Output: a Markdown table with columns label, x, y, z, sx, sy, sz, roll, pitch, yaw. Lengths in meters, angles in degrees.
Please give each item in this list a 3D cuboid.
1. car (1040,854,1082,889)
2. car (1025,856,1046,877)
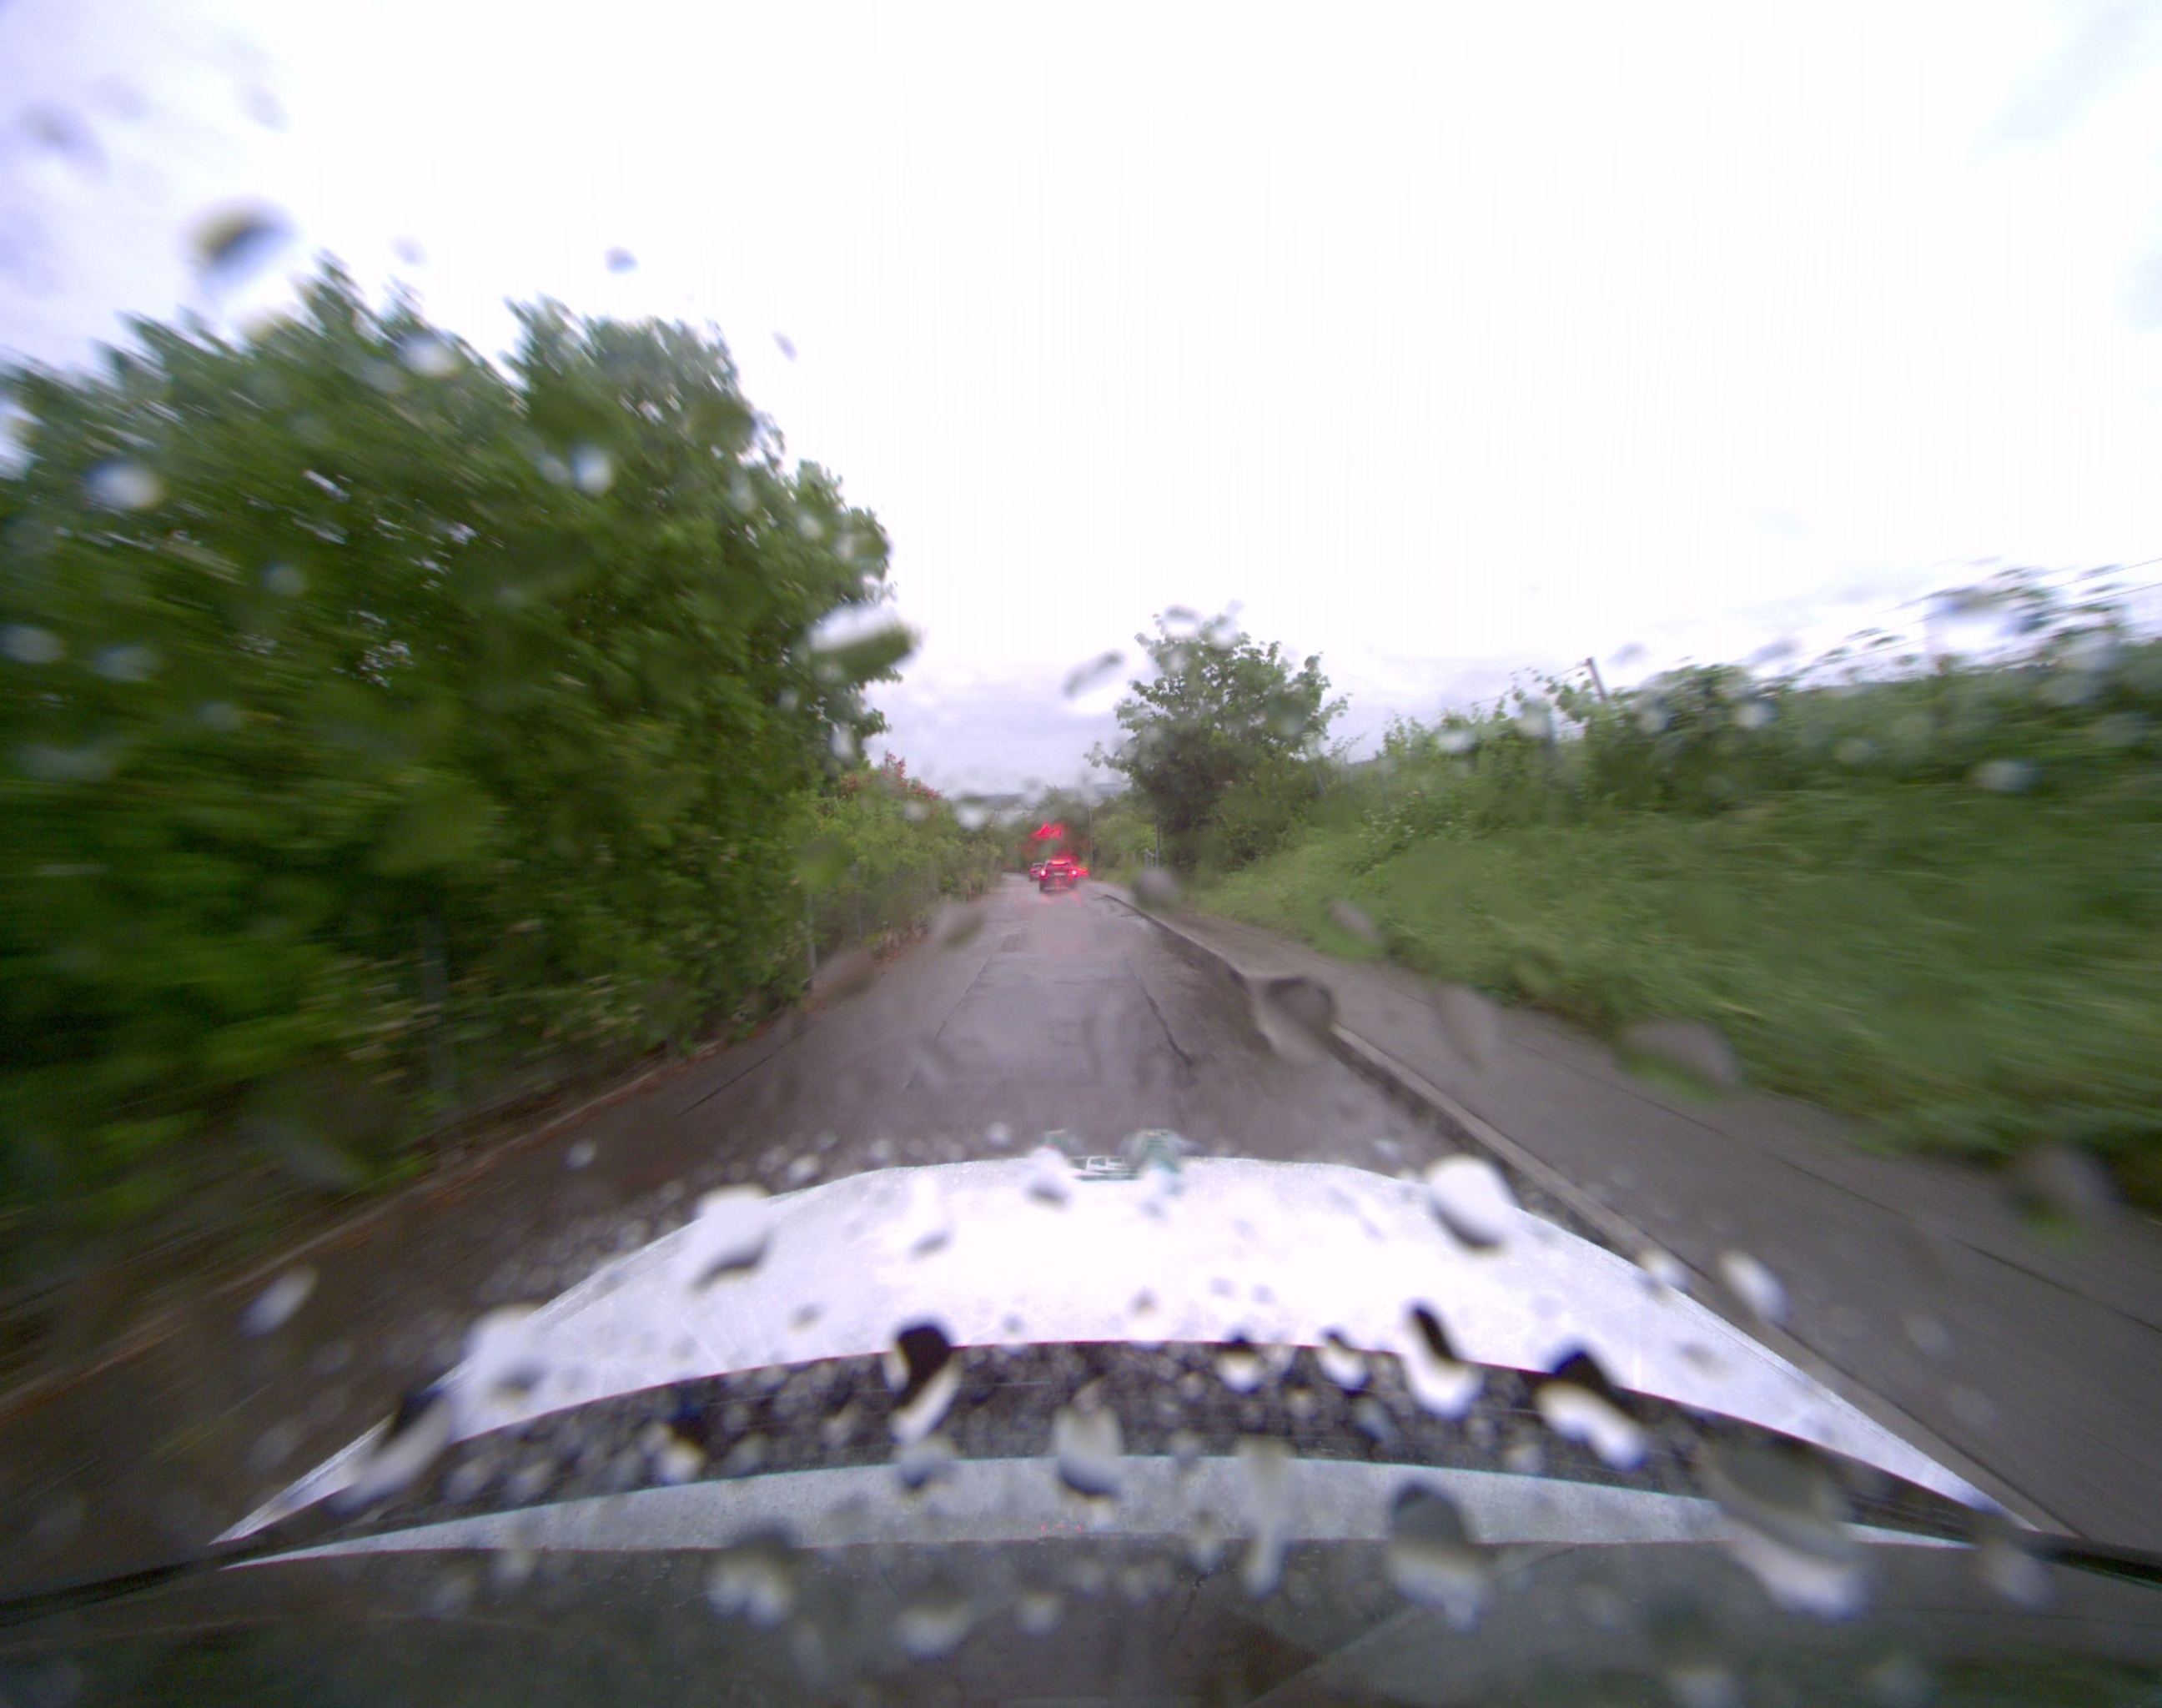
| label | x | y | z | sx | sy | sz | roll | pitch | yaw |
| --- | --- | --- | --- | --- | --- | --- | --- | --- | --- |
| car | -0.970 | 0.798 | 38.539 | 1.830 | 1.464 | 3.997 | -2 | 0 | -2 |
| car | -3.732 | 0.975 | 66.764 | 1.675 | 1.565 | 3.789 | -1 | 1 | -4 |
